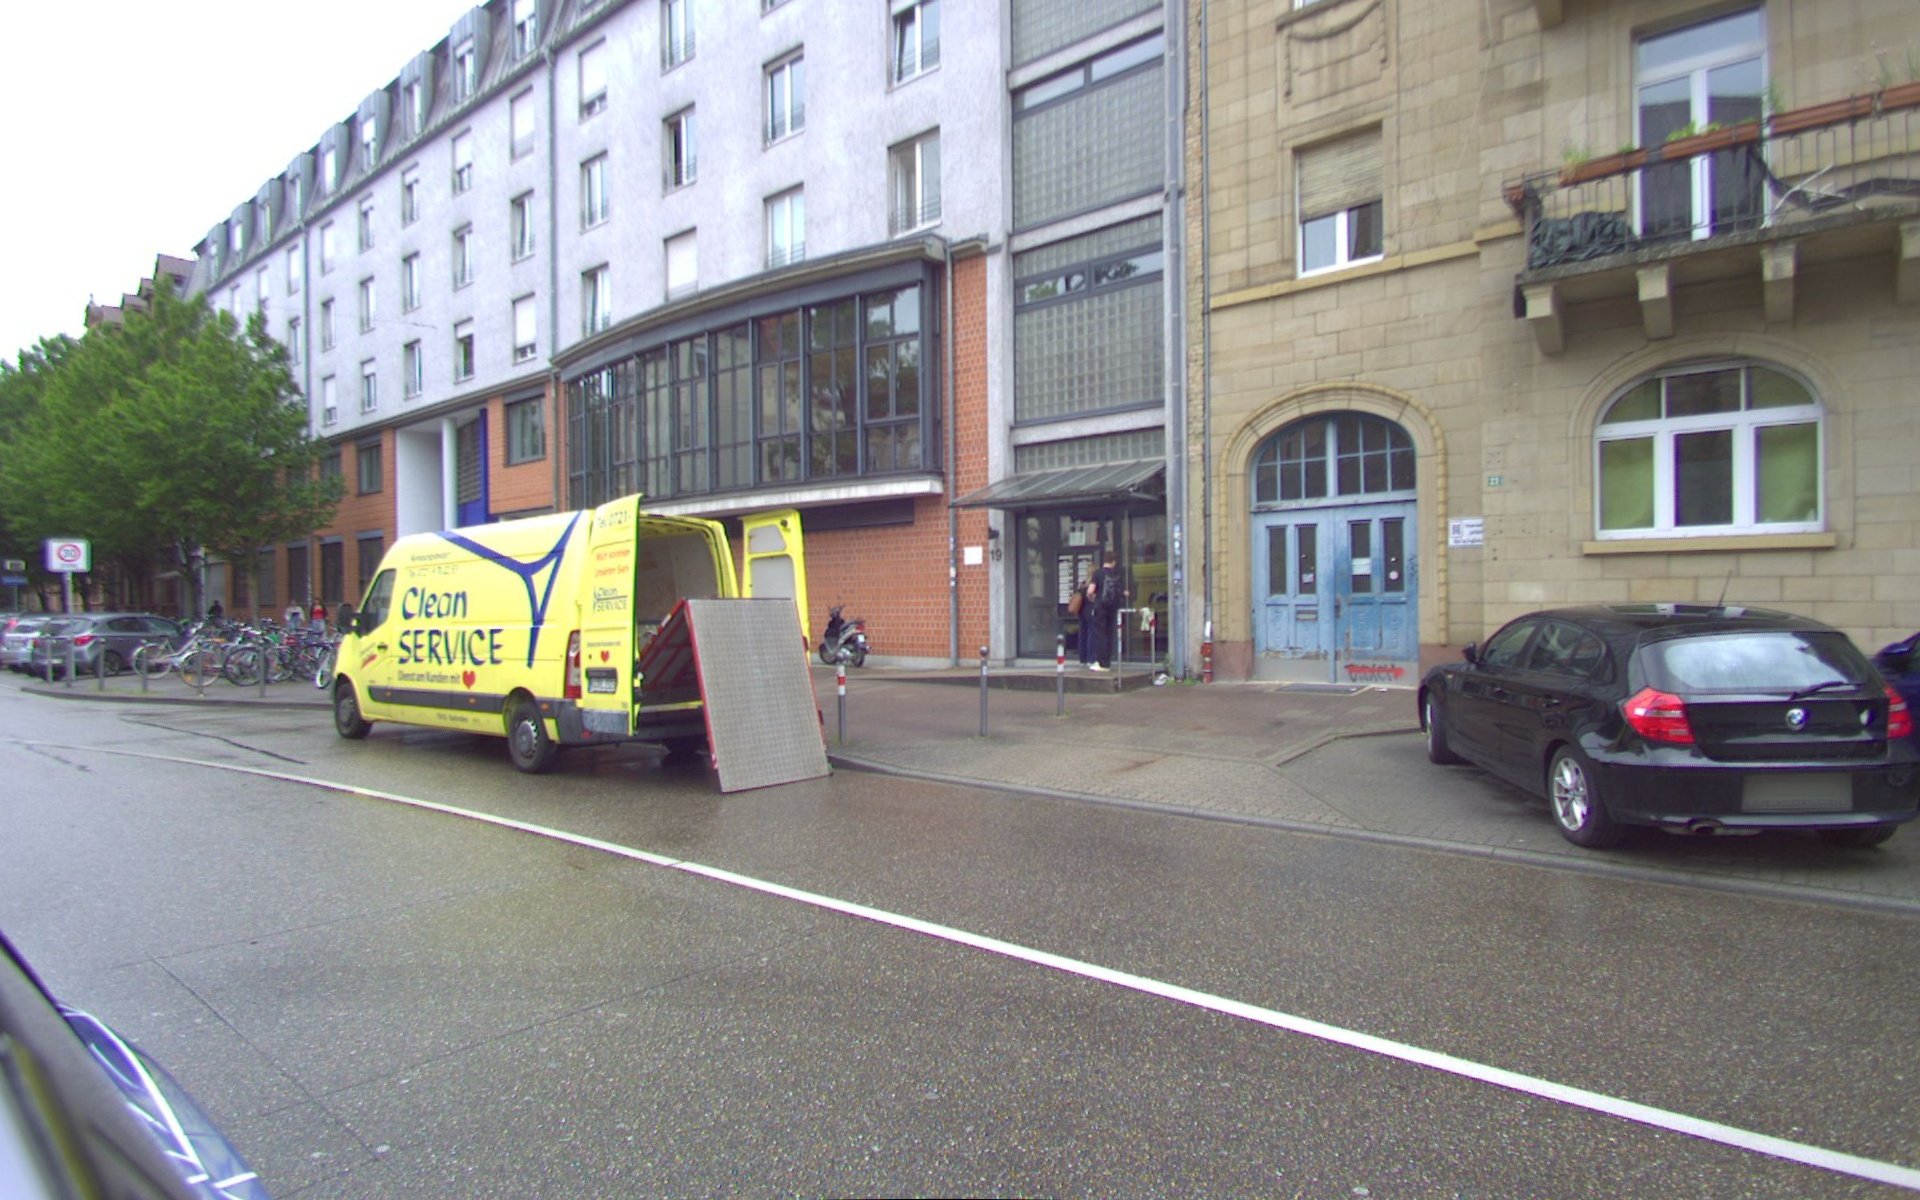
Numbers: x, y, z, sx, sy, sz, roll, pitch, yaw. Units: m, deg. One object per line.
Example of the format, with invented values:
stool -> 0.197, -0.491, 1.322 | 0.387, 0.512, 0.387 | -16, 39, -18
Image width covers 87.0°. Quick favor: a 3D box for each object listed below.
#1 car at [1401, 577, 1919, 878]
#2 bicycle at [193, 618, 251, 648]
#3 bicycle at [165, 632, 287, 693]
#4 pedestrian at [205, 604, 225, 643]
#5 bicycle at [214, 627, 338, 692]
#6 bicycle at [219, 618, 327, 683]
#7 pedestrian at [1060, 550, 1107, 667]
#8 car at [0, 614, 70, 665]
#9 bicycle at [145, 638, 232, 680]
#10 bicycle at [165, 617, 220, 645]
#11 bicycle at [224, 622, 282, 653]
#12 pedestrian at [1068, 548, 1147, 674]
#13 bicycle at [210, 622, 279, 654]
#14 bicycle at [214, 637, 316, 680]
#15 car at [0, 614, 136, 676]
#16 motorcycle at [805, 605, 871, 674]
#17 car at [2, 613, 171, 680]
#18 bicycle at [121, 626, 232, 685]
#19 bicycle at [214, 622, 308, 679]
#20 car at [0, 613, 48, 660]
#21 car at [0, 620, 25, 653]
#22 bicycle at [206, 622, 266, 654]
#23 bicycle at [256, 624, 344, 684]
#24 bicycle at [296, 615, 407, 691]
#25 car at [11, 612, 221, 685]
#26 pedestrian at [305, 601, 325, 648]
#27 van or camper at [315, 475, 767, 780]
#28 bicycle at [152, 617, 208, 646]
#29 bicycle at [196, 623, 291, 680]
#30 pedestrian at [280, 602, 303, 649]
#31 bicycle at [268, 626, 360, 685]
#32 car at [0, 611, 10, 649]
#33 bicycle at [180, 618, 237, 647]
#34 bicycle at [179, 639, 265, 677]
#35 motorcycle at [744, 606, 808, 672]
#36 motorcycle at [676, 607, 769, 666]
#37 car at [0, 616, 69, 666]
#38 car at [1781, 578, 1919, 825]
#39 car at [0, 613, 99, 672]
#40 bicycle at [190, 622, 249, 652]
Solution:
car -> 4.732, 0.676, 7.187 | 1.777, 1.523, 4.036 | 0, -1, 6
bicycle -> -25.632, 1.137, 35.154 | 0.444, 0.992, 1.573 | -1, -1, 32
bicycle -> -13.802, 1.149, 19.081 | 0.519, 1.000, 1.778 | -1, 1, 38
pedestrian -> -30.711, 0.967, 41.723 | 0.533, 1.609, 0.564 | -1, -1, 41
bicycle -> -12.800, 1.081, 18.976 | 1.832, 1.081, 0.610 | -2, 1, -45
bicycle -> -14.075, 1.006, 20.785 | 0.517, 1.203, 1.798 | -1, 1, 27
pedestrian -> 1.902, 0.138, 15.592 | 0.467, 1.761, 0.608 | 0, -1, -24
car -> -30.956, 1.279, 32.798 | 1.358, 1.567, 2.971 | -1, 0, 11
bicycle -> -17.143, 1.290, 22.501 | 0.497, 0.811, 1.454 | -1, 1, 43
bicycle -> -28.847, 1.153, 38.063 | 0.464, 0.992, 1.573 | -1, -1, 32
bicycle -> -23.854, 1.254, 34.172 | 0.444, 0.992, 1.573 | -1, -1, 32
pedestrian -> 2.152, 0.161, 14.702 | 0.785, 1.741, 0.997 | -1, -1, 31
bicycle -> -23.396, 1.244, 33.135 | 0.444, 0.992, 1.831 | -1, -1, 32
bicycle -> -14.512, 1.213, 21.173 | 0.455, 0.767, 1.757 | -1, 1, 27
car -> -24.260, 1.181, 27.369 | 1.432, 1.514, 3.078 | -1, 0, 0
motorcycle -> -2.250, 0.688, 18.488 | 0.516, 1.190, 1.763 | -1, 0, -30
car -> -22.161, 1.139, 25.816 | 1.436, 1.514, 3.070 | -1, 0, 9
bicycle -> -16.605, 1.151, 21.482 | 0.472, 1.114, 1.791 | -1, 1, 35
bicycle -> -14.946, 1.059, 21.686 | 0.517, 1.114, 1.596 | -1, 1, 27
car -> -33.067, 1.266, 34.571 | 1.138, 1.567, 2.672 | -1, 0, 11
car -> -43.512, 1.621, 44.561 | 1.662, 1.502, 3.798 | 0, -1, -10
bicycle -> -23.836, 1.244, 33.346 | 0.444, 0.992, 1.573 | -1, -1, 32
bicycle -> -13.287, 1.063, 20.390 | 1.439, 1.111, 0.462 | -2, 1, -36
bicycle -> -11.221, 0.939, 18.760 | 0.760, 1.225, 1.917 | 0, 3, 5
car -> -19.862, 1.081, 24.007 | 1.720, 1.514, 3.614 | 0, 0, 9
pedestrian -> -22.447, 0.832, 35.210 | 0.425, 1.622, 0.508 | -1, -1, 41
van or camper -> -4.961, 0.294, 11.443 | 5.936, 2.631, 2.174 | -1, -2, 39
bicycle -> -28.539, 1.145, 37.037 | 0.464, 0.992, 1.573 | -1, -1, 32
bicycle -> -15.544, 1.095, 21.975 | 0.519, 1.114, 1.591 | -1, 1, 35
pedestrian -> -23.126, 0.876, 35.015 | 0.372, 1.622, 0.598 | -1, -1, 39
bicycle -> -12.687, 1.070, 19.900 | 0.418, 1.072, 1.442 | -1, 1, 44
car -> -48.727, 1.460, 48.847 | 1.666, 1.910, 4.330 | 0, -1, -1
bicycle -> -26.589, 1.140, 35.824 | 0.464, 0.992, 1.573 | -1, -1, 32
bicycle -> -16.362, 1.283, 22.457 | 0.497, 0.727, 1.454 | -1, 1, 43
motorcycle -> -3.536, 0.719, 19.318 | 0.516, 1.190, 2.010 | -1, 0, -30
motorcycle -> -4.955, 0.744, 21.011 | 2.202, 1.165, 0.643 | -1, 0, 39
car -> -29.084, 1.248, 31.129 | 1.177, 1.461, 2.502 | -1, 0, 0
car -> 6.909, 0.636, 5.734 | 1.780, 1.585, 4.029 | -1, -1, 11
car -> -26.678, 1.185, 28.973 | 1.432, 1.564, 3.078 | -1, 0, 0
bicycle -> -25.294, 1.247, 34.587 | 0.444, 0.992, 1.573 | -1, -1, 32
